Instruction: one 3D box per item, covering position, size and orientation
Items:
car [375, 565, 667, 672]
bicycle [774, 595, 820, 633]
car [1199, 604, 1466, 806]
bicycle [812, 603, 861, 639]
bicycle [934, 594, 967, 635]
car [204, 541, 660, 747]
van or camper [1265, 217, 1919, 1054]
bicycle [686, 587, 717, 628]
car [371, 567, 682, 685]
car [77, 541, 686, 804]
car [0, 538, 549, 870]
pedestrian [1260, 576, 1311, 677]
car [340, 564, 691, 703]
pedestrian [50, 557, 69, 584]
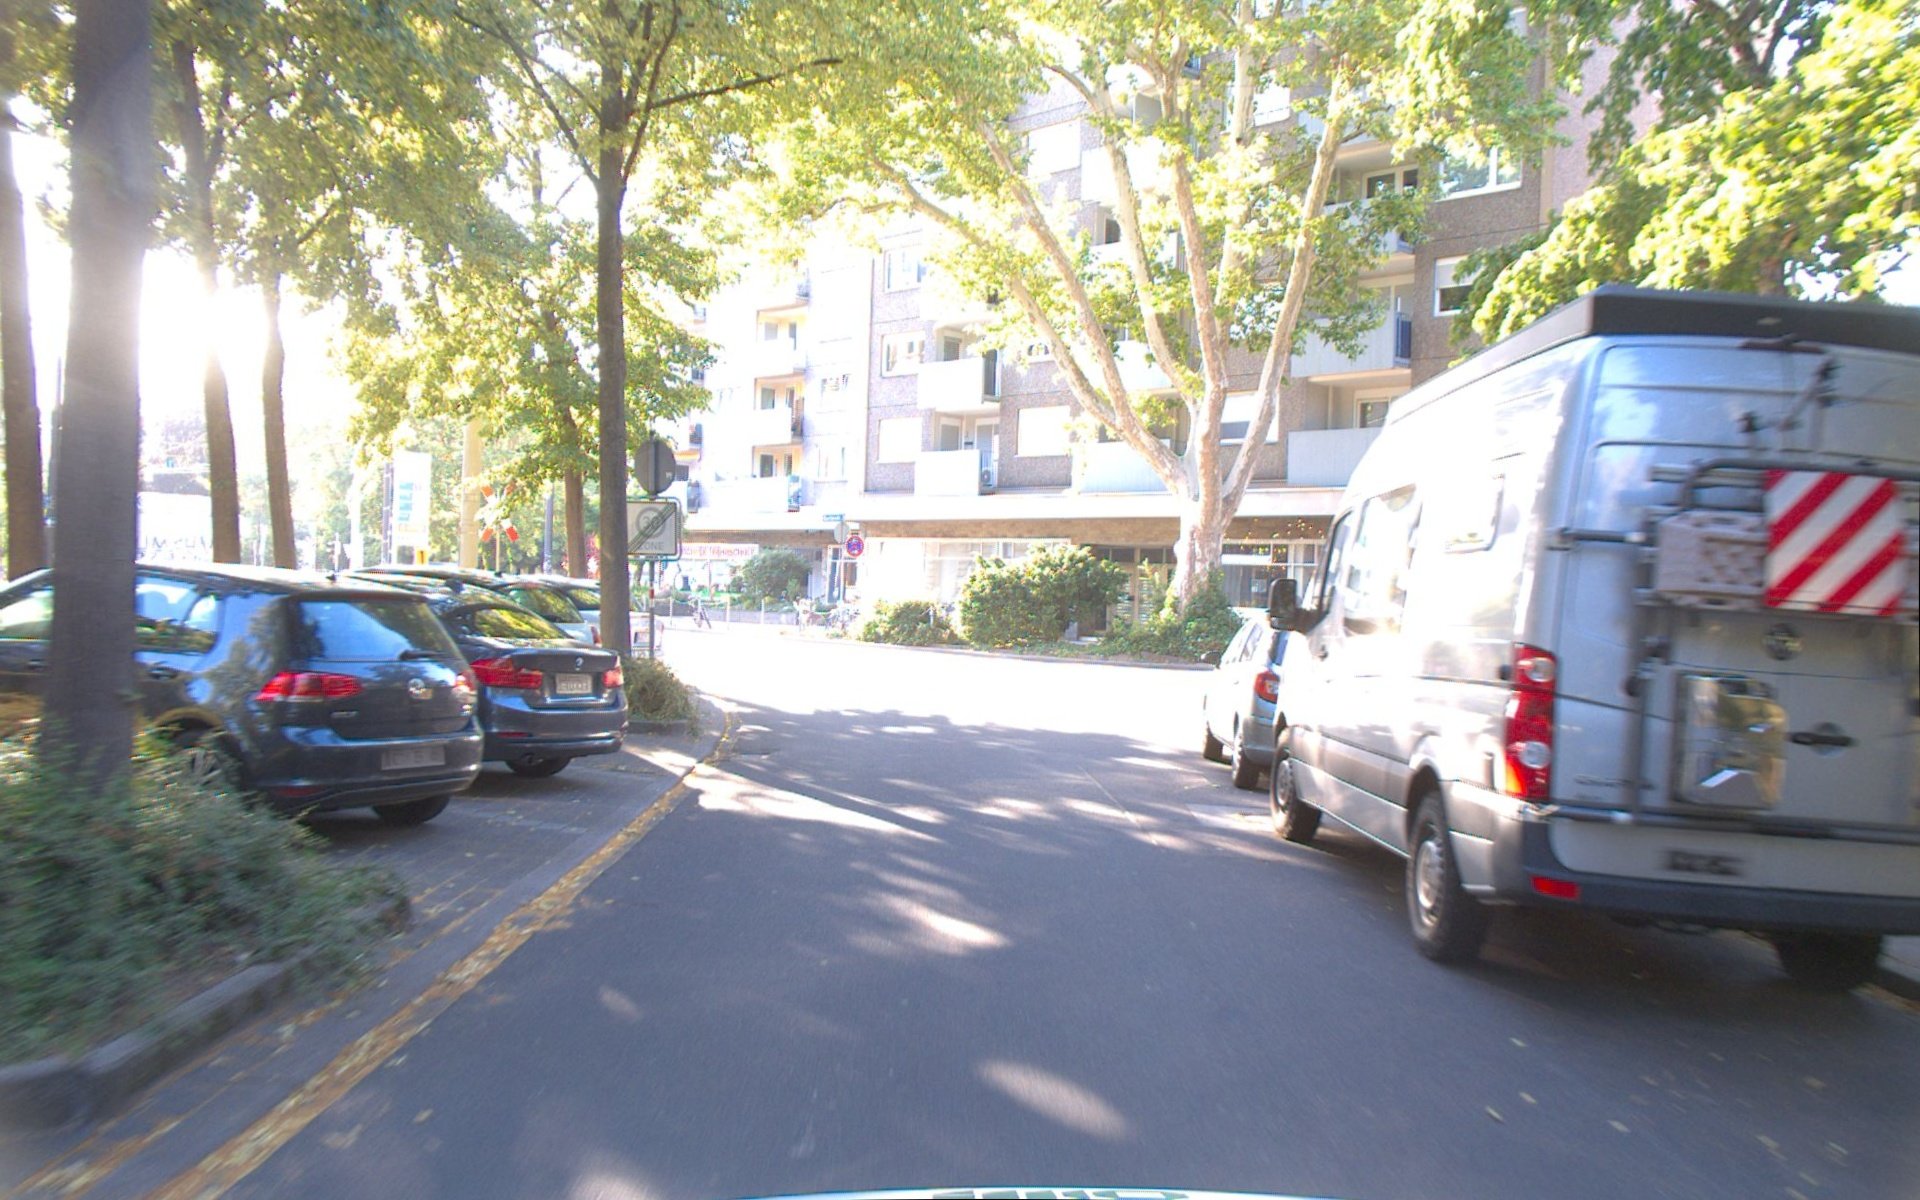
[{"bbox_3d":[-7.085,0.287,26.782,4.190,1.454,1.775,3,0,15],"label":"car"},{"bbox_3d":[-4.643,0.392,47.046,0.630,1.040,2.072,1,0,-25],"label":"bicycle"},{"bbox_3d":[3.277,0.848,15.246,1.646,1.471,3.873,4,0,2],"label":"car"},{"bbox_3d":[-3.399,0.573,45.409,0.538,0.920,1.714,1,0,-35],"label":"bicycle"},{"bbox_3d":[-0.258,0.388,44.757,0.345,1.056,1.039,1,1,-36],"label":"bicycle"},{"bbox_3d":[-4.979,0.373,15.608,3.797,1.519,1.830,5,0,25],"label":"car"},{"bbox_3d":[3.111,0.111,8.553,2.041,2.810,5.846,2,0,1],"label":"van or camper"},{"bbox_3d":[-8.364,0.232,53.422,0.629,1.247,2.077,1,0,-19],"label":"bicycle"},{"bbox_3d":[-6.268,0.364,24.081,3.942,1.430,1.776,3,0,13],"label":"car"},{"bbox_3d":[-4.347,0.468,12.431,4.104,1.463,1.831,5,0,24],"label":"car"},{"bbox_3d":[-4.566,0.470,9.691,3.783,1.463,1.831,5,0,24],"label":"car"},{"bbox_3d":[5.941,0.475,30.235,0.795,1.812,0.717,1,0,3],"label":"pedestrian"},{"bbox_3d":[-5.644,0.401,21.164,3.889,1.388,1.776,5,0,14],"label":"car"},{"bbox_3d":[-57.975,-1.885,106.524,0.920,1.721,0.766,2,0,-40],"label":"pedestrian"}]
